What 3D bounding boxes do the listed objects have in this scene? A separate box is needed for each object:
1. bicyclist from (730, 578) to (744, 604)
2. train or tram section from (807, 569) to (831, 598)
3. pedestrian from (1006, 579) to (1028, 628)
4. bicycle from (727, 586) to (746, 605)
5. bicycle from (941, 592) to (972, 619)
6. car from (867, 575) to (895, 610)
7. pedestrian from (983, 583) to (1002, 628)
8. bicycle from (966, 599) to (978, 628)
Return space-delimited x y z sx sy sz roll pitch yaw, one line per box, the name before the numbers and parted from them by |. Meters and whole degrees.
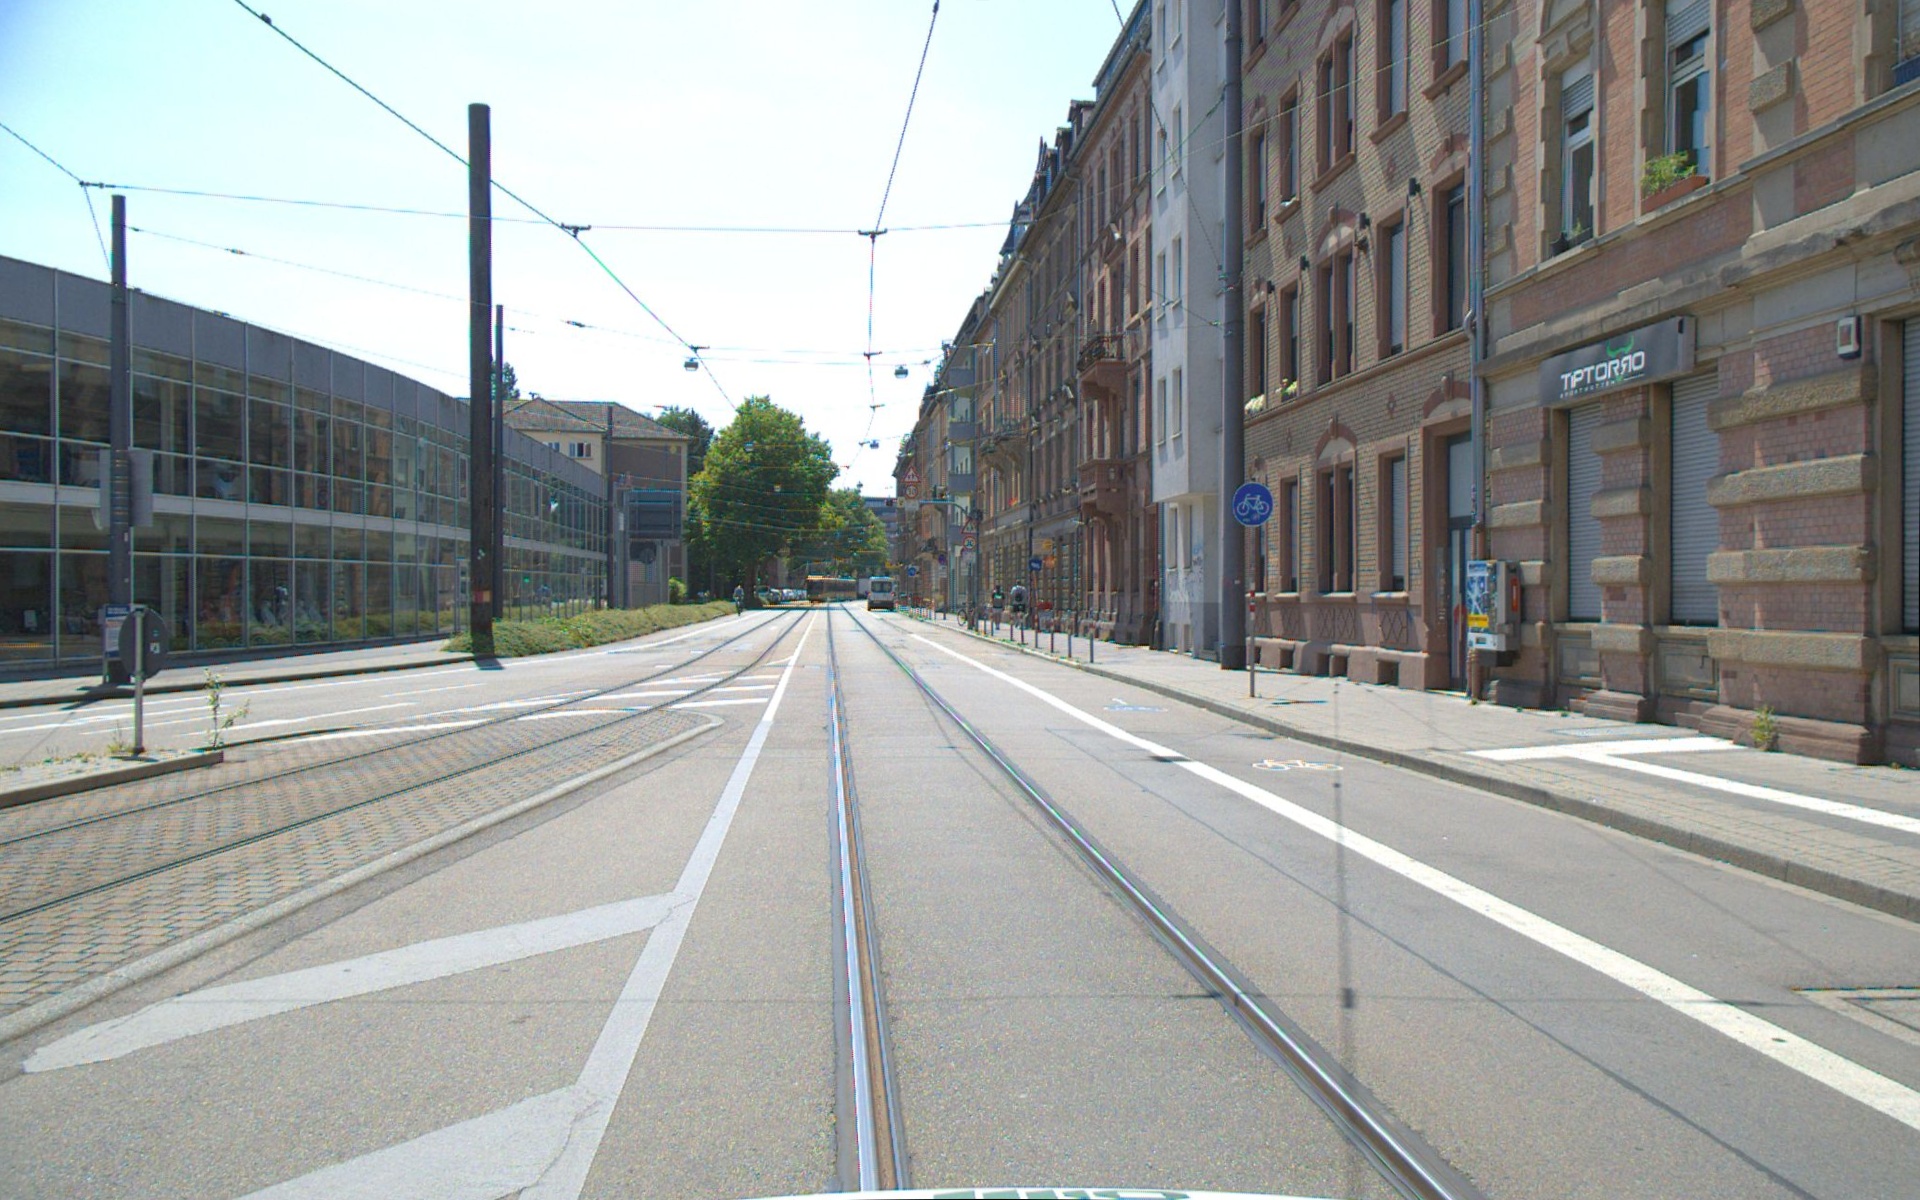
bicyclist | -13.617 -0.533 101.116 0.683 1.575 0.980 0 0 2
train or tram section | -17.984 -2.074 210.994 2.903 3.643 13.409 0 0 -5
pedestrian | 2.247 0.144 65.080 0.688 1.881 0.643 -4 0 -4
bicycle | -13.640 -0.275 101.026 0.683 1.164 2.496 0 0 2
bicycle | -0.140 0.249 72.768 0.489 1.150 2.242 -1 0 24
car | -6.074 -0.567 126.644 2.026 2.544 5.450 1 0 -4
pedestrian | 1.285 0.222 65.092 0.706 1.750 0.643 0 0 -4
bicycle | 0.465 0.528 65.147 0.438 1.116 2.423 -1 0 1
